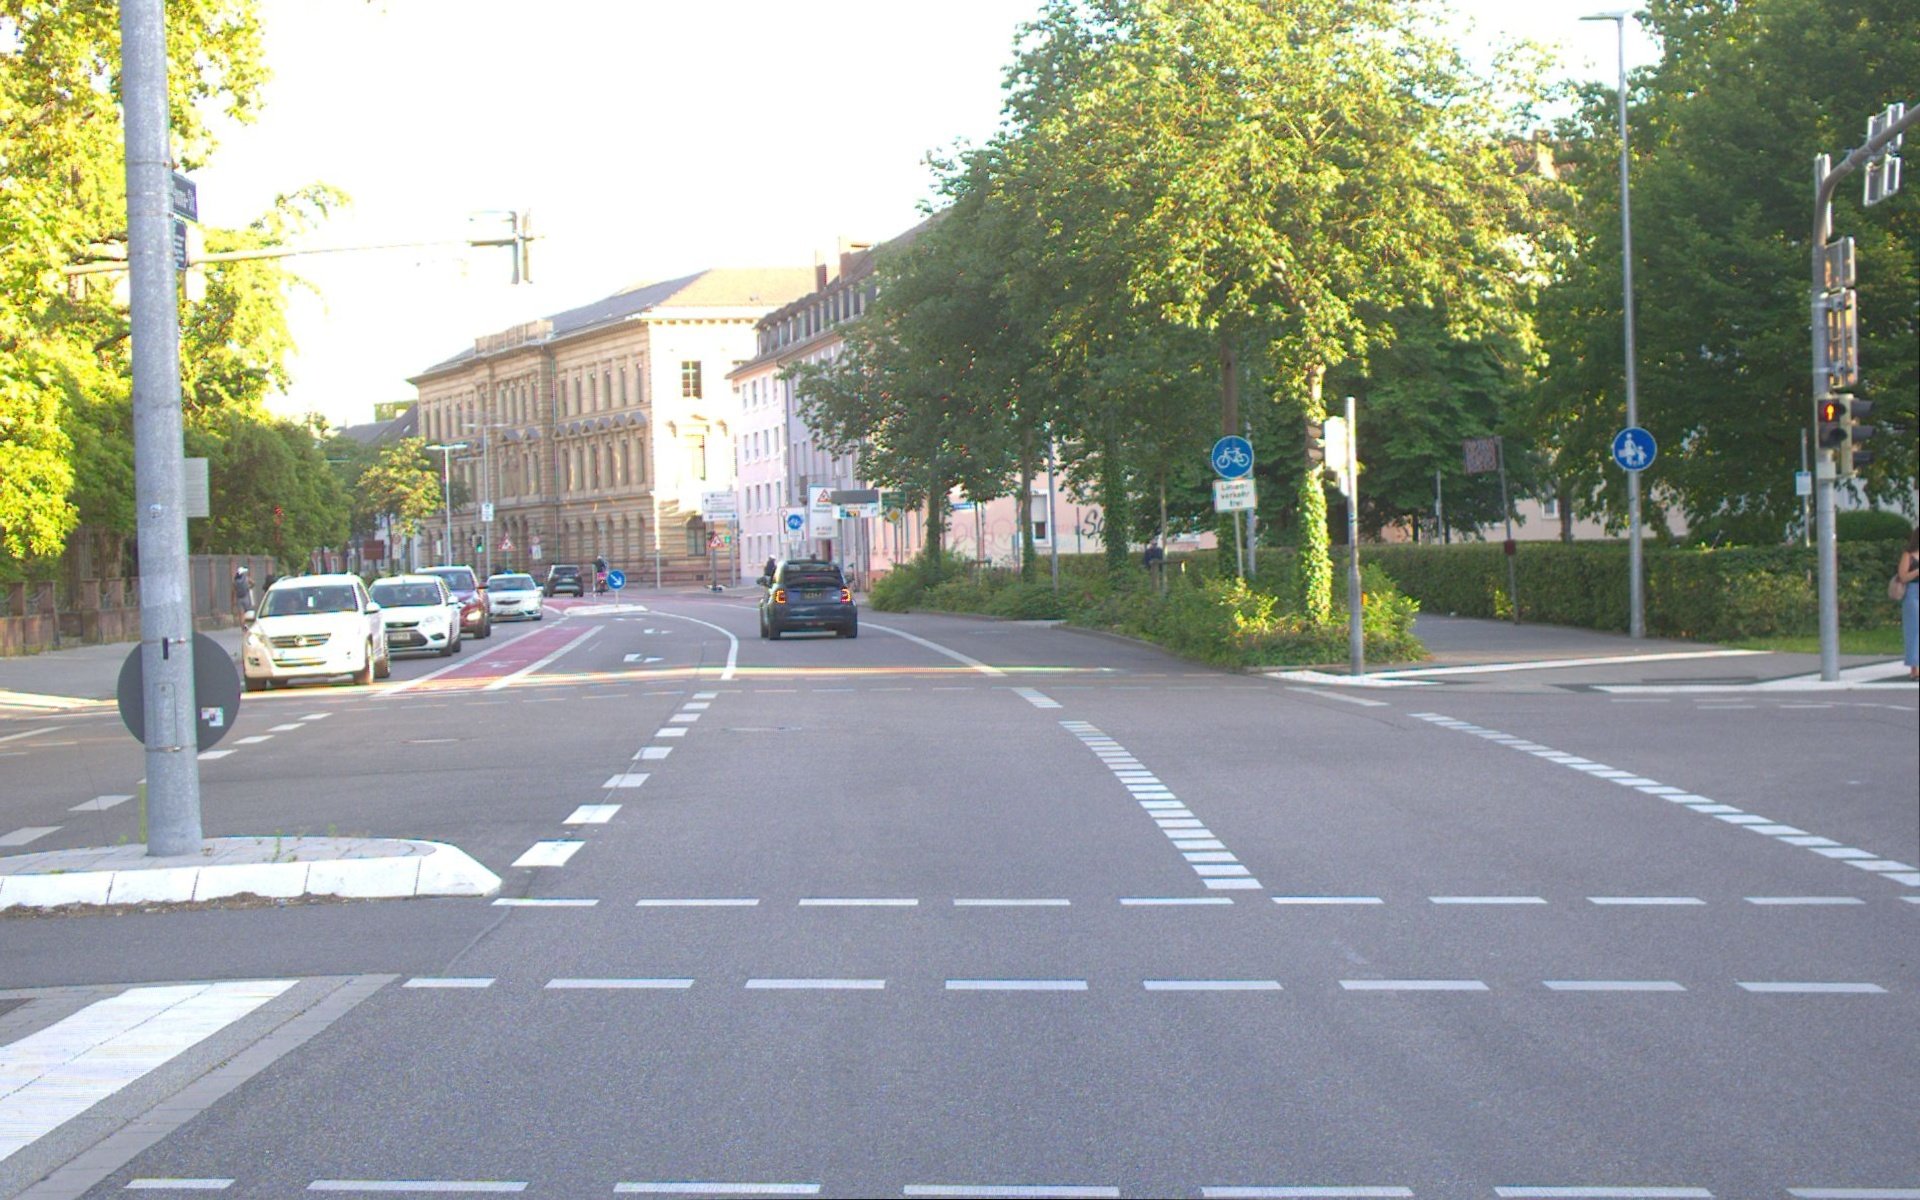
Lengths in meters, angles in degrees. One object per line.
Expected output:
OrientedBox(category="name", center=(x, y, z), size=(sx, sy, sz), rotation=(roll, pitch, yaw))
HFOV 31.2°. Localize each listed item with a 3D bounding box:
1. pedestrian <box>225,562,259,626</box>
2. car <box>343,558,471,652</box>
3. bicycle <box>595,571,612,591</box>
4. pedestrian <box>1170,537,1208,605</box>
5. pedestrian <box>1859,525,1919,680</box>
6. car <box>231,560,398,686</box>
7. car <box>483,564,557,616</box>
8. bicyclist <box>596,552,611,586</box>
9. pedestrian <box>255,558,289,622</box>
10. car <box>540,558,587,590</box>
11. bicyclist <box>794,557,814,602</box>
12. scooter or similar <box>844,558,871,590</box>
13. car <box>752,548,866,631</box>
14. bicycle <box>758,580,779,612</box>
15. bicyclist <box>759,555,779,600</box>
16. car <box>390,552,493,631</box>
OrientedBox(category="pedestrian", center=(-18.420, -0.165, 88.161), size=(0.681, 1.617, 0.688), rotation=(-2, 1, -1))
OrientedBox(category="car", center=(-10.288, 0.066, 64.250), size=(1.916, 1.578, 4.675), rotation=(-3, 1, -5))
OrientedBox(category="bicycle", center=(-18.136, -0.957, 174.879), size=(0.652, 1.012, 2.198), rotation=(1, 1, -10))
OrientedBox(category="pedestrian", center=(5.890, -0.748, 88.517), size=(0.769, 1.733, 0.807), rotation=(-2, 1, -10))
OrientedBox(category="pedestrian", center=(10.115, 0.017, 36.861), size=(0.681, 1.616, 0.845), rotation=(-2, 1, -1))
OrientedBox(category="car", center=(-9.667, 0.307, 51.787), size=(1.916, 1.690, 4.427), rotation=(-3, 1, -5))
OrientedBox(category="car", center=(-13.233, -0.320, 103.533), size=(1.916, 1.413, 4.771), rotation=(-3, 1, -5))
OrientedBox(category="bicyclist", center=(-18.183, -1.583, 175.176), size=(0.652, 1.692, 0.957), rotation=(1, 0, -10))
OrientedBox(category="pedestrian", center=(-17.608, -0.257, 87.966), size=(0.681, 1.617, 0.688), rotation=(-2, 1, -1))
OrientedBox(category="car", center=(-19.637, -1.281, 170.038), size=(1.916, 1.413, 4.771), rotation=(-4, 1, -10))
OrientedBox(category="bicyclist", center=(-5.171, -0.684, 113.857), size=(0.652, 1.470, 0.941), rotation=(1, 0, -3))
OrientedBox(category="scooter or similar", center=(-4.343, -1.087, 145.347), size=(0.629, 1.332, 2.401), rotation=(-1, 1, -14))
OrientedBox(category="car", center=(-2.943, -0.223, 66.158), size=(1.867, 1.504, 4.001), rotation=(-2, 1, -7))
OrientedBox(category="bicycle", center=(-6.289, -0.126, 112.808), size=(0.652, 1.012, 2.198), rotation=(1, 1, -3))
OrientedBox(category="bicyclist", center=(-6.272, -0.737, 112.772), size=(0.652, 1.441, 0.879), rotation=(1, 0, -3))
OrientedBox(category="car", center=(-11.723, -0.213, 77.959), size=(1.916, 1.619, 4.640), rotation=(-3, 1, -5))
